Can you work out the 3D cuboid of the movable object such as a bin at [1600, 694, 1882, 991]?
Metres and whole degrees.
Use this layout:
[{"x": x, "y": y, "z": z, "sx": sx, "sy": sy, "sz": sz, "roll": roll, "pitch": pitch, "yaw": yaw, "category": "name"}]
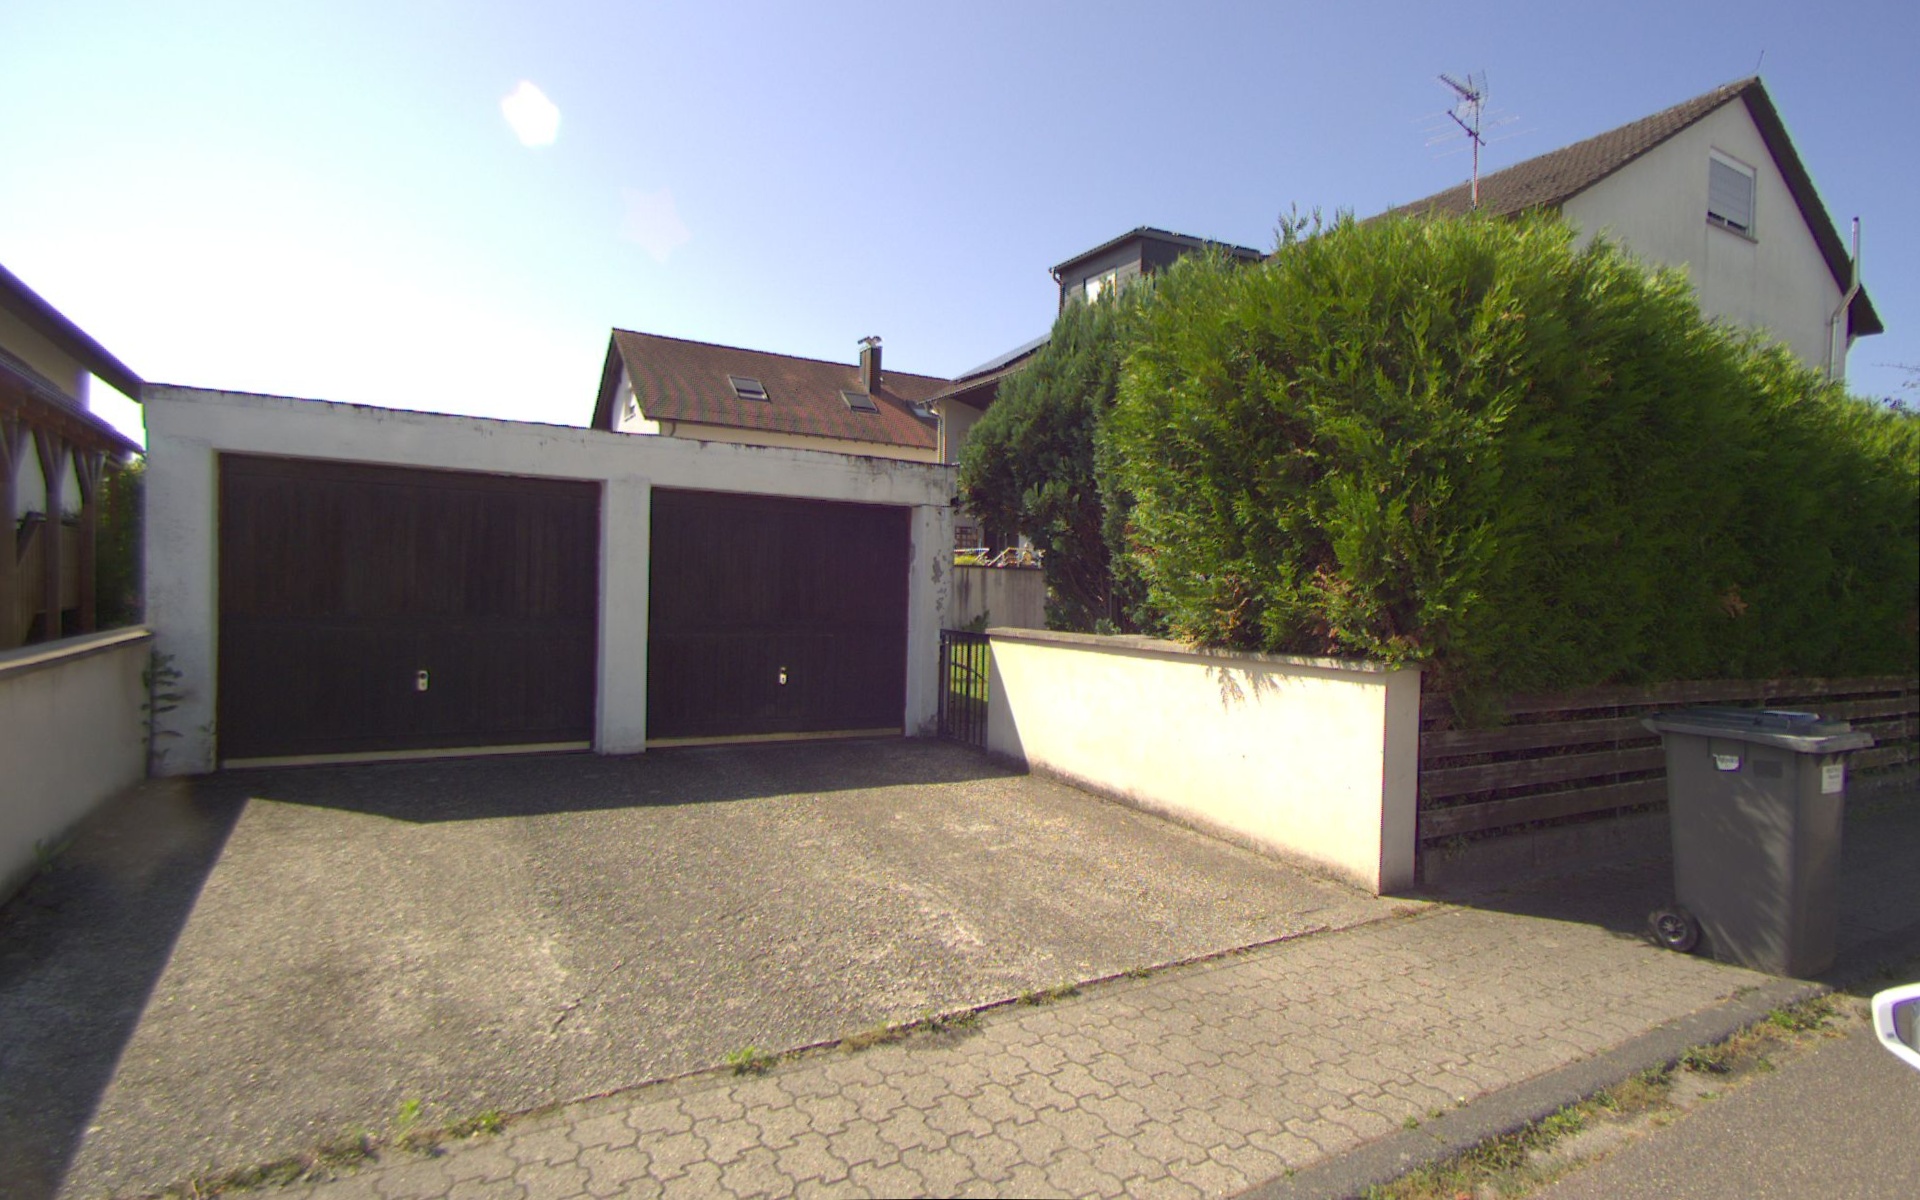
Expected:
[{"x": 3.443, "y": 1.002, "z": 4.463, "sx": 0.604, "sy": 1.078, "sz": 0.814, "roll": 1, "pitch": 0, "yaw": -30, "category": "movable object such as a bin"}]
